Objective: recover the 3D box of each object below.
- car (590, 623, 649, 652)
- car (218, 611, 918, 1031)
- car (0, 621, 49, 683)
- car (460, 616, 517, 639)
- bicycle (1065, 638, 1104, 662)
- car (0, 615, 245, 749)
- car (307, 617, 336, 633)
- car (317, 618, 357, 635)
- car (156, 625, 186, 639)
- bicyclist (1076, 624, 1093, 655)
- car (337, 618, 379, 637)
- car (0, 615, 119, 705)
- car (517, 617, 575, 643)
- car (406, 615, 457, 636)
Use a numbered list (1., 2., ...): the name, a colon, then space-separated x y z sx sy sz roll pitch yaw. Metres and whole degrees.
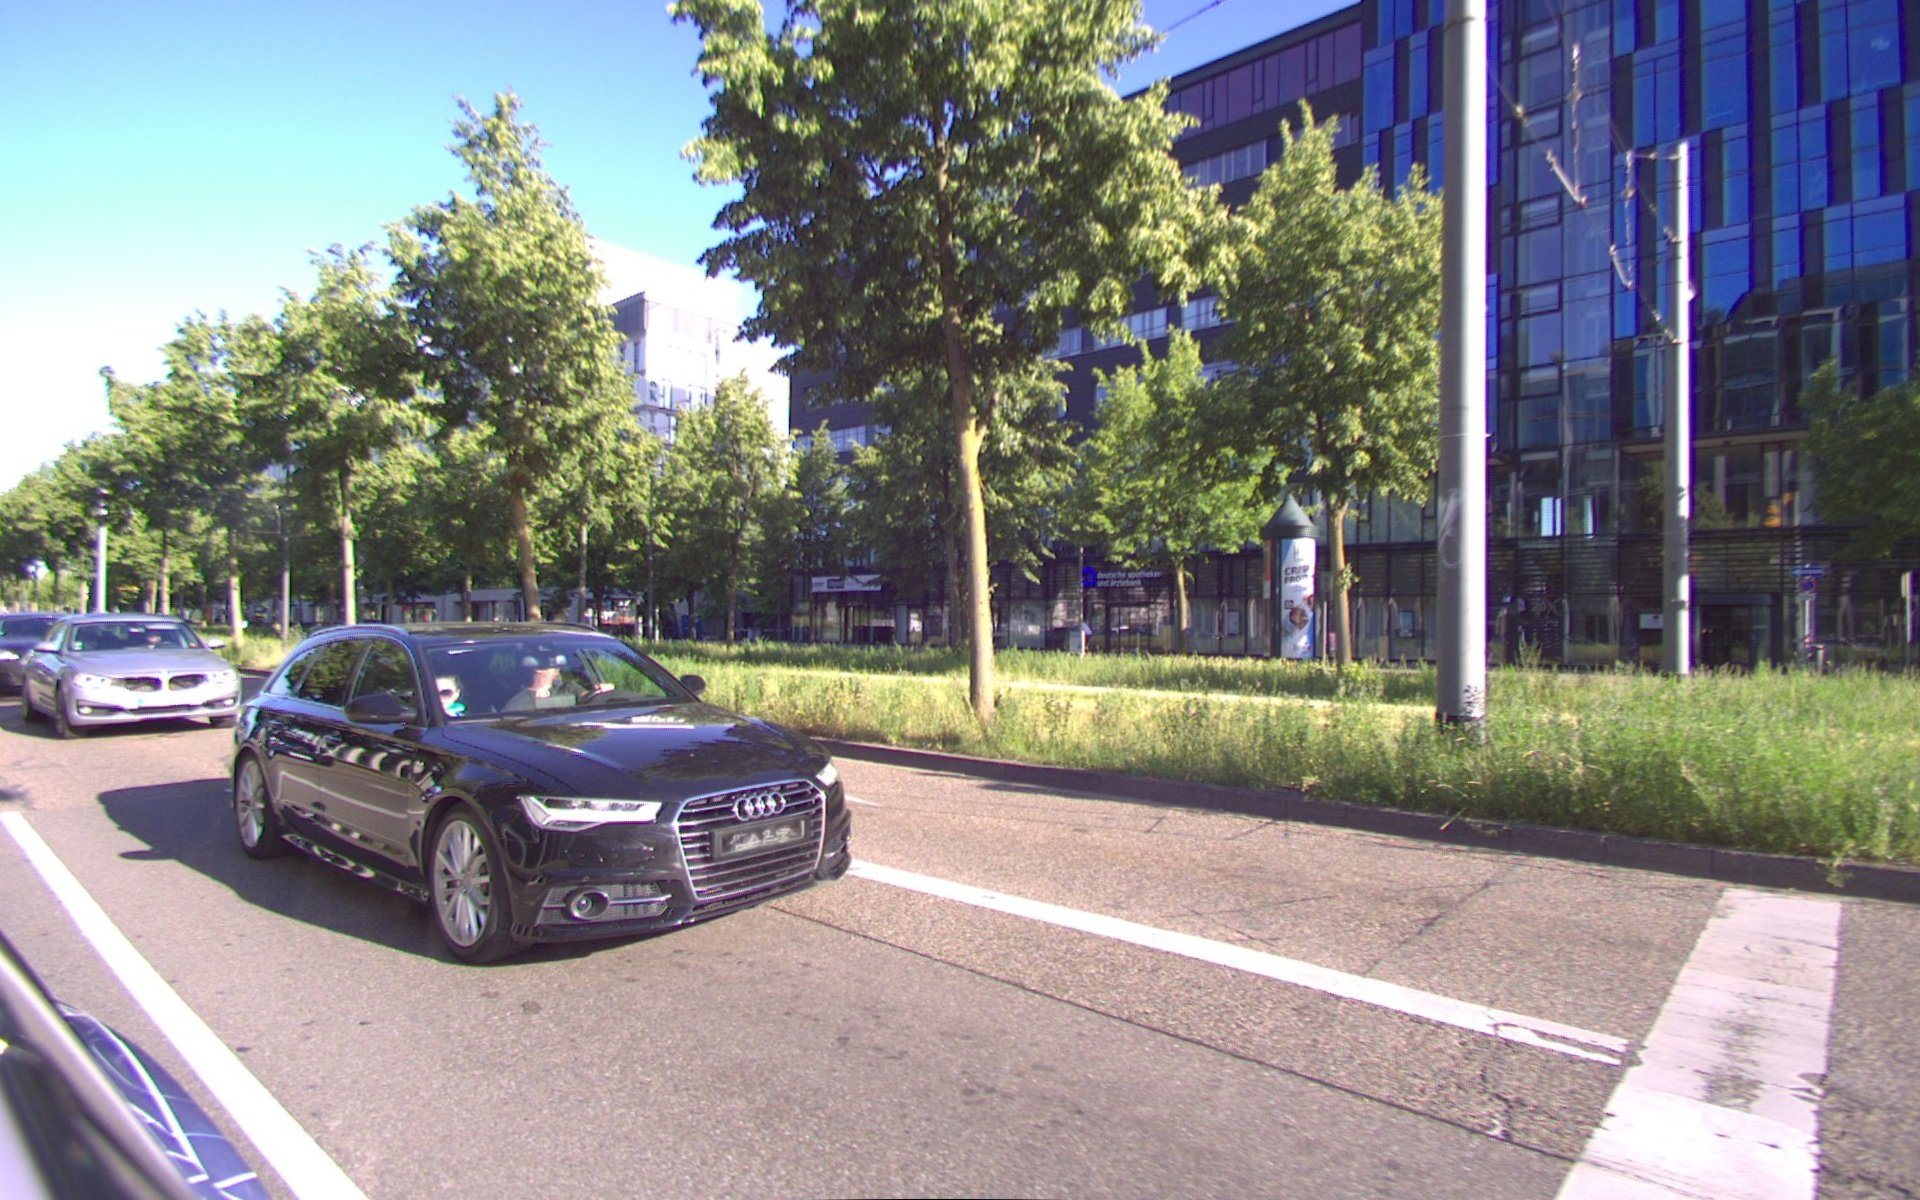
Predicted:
1. car: -21.509 2.321 63.839 3.999 1.762 1.834 -1 -2 42
2. car: -2.479 0.803 5.710 4.505 1.468 1.789 -1 -1 41
3. car: -24.442 1.271 25.538 4.254 1.465 1.788 -1 -2 43
4. car: -36.268 2.090 77.783 4.786 1.712 1.987 -1 -2 39
5. bicycle: 5.807 2.347 47.309 1.847 1.041 0.521 0 -1 42
6. car: -11.366 0.962 13.602 4.740 1.500 1.789 -1 -2 41
7. car: -65.095 2.545 103.141 3.742 1.682 1.580 -1 -2 42
8. car: -61.536 2.601 99.970 4.789 1.712 1.986 -1 -2 41
9. car: -89.570 3.588 114.878 4.734 1.549 1.834 -1 -2 42
10. bicyclist: 5.813 1.829 47.285 0.626 1.416 0.487 0 -1 42
11. car: -57.211 2.582 96.096 4.789 1.712 1.986 -1 -2 41
12. car: -17.481 1.057 19.191 4.028 1.534 1.789 -1 -2 42
13. car: -28.960 2.085 70.759 4.791 1.697 1.834 -1 -2 42
14. car: -44.134 2.100 84.488 4.786 1.712 1.987 -1 -2 39
